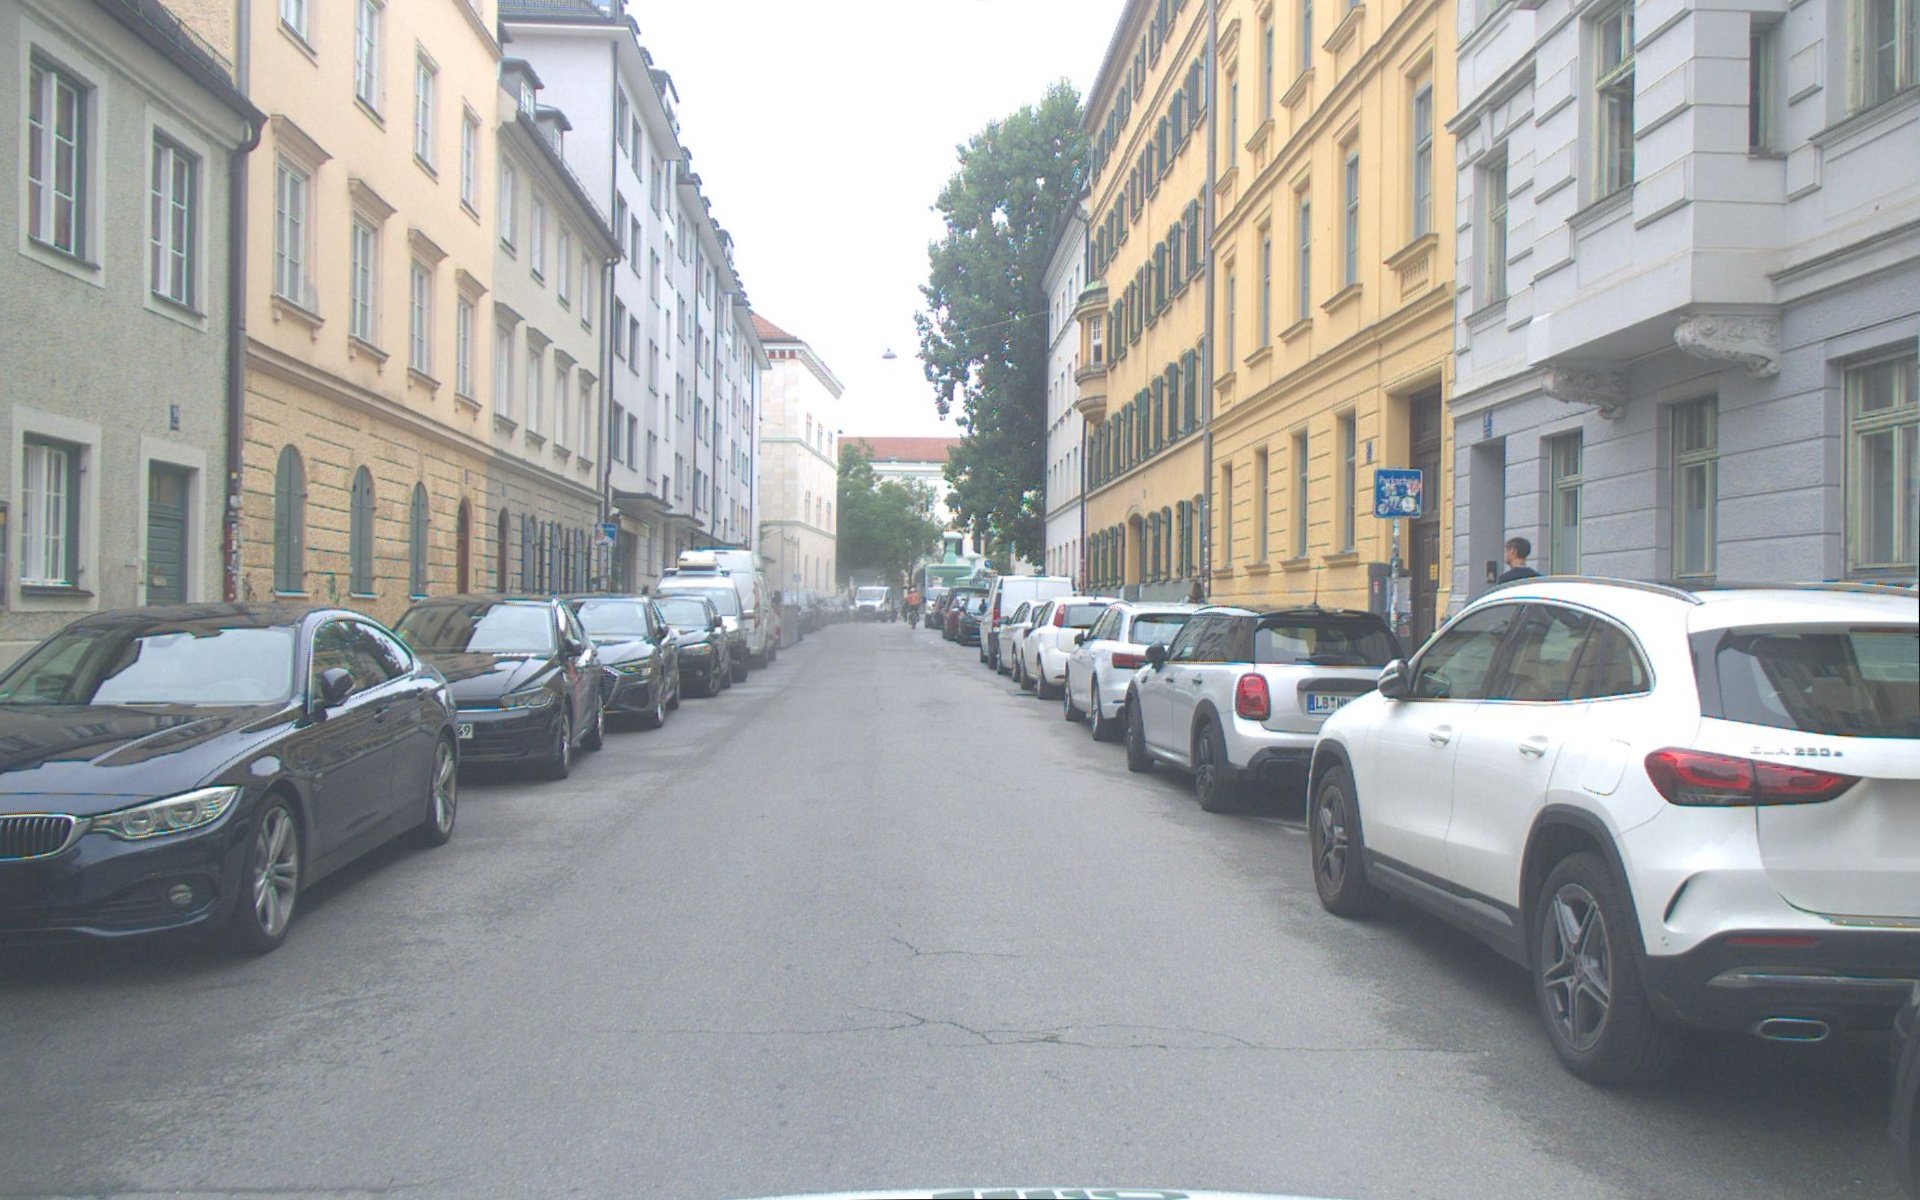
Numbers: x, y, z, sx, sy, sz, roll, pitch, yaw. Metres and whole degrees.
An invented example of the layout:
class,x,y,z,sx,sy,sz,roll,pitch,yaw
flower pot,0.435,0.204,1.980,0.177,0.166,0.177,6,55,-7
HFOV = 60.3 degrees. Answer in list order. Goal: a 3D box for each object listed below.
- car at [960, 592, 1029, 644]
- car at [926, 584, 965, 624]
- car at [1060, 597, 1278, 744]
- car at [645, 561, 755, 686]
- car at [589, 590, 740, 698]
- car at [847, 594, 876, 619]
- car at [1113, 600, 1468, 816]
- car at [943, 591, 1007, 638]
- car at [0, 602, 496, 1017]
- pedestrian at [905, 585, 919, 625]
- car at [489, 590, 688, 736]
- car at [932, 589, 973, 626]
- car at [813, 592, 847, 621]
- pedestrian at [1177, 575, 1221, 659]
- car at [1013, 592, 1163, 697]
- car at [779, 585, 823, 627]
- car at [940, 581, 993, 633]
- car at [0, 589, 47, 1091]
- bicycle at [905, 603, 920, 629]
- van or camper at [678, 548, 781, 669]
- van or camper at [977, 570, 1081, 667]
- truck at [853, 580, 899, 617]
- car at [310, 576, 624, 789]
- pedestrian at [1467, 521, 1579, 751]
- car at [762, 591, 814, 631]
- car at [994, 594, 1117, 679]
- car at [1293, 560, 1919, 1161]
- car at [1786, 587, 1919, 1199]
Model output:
class,x,y,z,sx,sy,sz,roll,pitch,yaw
car,1.003,0.529,50.235,1.775,1.490,4.244,1,0,-3
car,-0.755,0.198,81.867,1.814,1.953,4.767,0,0,-2
car,2.208,0.690,18.712,1.674,1.433,4.812,1,0,-2
car,-4.532,0.382,29.345,1.721,2.030,4.619,1,0,-7
car,-4.247,0.591,24.312,1.720,1.433,4.100,1,0,-4
car,-6.609,0.427,110.994,1.671,1.609,3.863,-1,0,0
car,2.426,0.728,13.211,1.675,1.429,4.203,1,0,-5
car,0.449,0.471,55.119,1.776,1.449,4.243,1,0,-4
car,-3.683,0.738,8.086,1.763,1.362,4.682,1,1,-4
pedestrian,-2.110,0.232,73.019,0.629,1.744,0.842,0,-1,-2
car,-4.179,0.634,19.191,1.781,1.467,4.126,-1,1,-6
car,-0.366,0.330,76.006,1.775,1.642,4.154,0,0,-2
car,-7.549,0.357,96.298,1.671,1.637,3.862,-1,0,0
pedestrian,4.661,0.331,32.283,0.647,1.599,0.642,-3,-1,-3
car,1.883,0.628,25.436,1.674,1.480,4.093,1,0,-5
car,-6.566,0.238,68.593,1.672,1.637,3.860,-1,0,-3
car,0.201,0.246,62.111,1.775,1.829,4.245,1,0,-2
car,-3.559,0.711,3.248,1.720,1.501,3.710,1,0,-6
bicycle,-2.106,0.709,72.998,0.662,1.114,1.759,0,-1,-2
van or camper,-4.748,0.159,34.659,1.720,2.321,5.269,1,0,-4
van or camper,1.404,0.367,35.339,1.797,1.904,5.076,1,0,-2
truck,-5.248,-0.056,104.006,2.076,2.287,6.188,0,-1,5
car,-3.966,0.597,13.989,1.720,1.522,4.196,1,0,-5
pedestrian,5.115,0.321,15.065,0.656,2.015,0.708,-3,-1,-2
car,-6.549,0.397,63.139,1.781,1.470,3.815,-1,0,-3
car,1.657,0.618,29.985,1.674,1.417,4.202,1,0,-5
car,2.739,0.705,6.712,1.708,1.611,4.464,1,0,-2
car,2.891,0.759,1.798,1.719,1.547,4.272,1,0,-2
